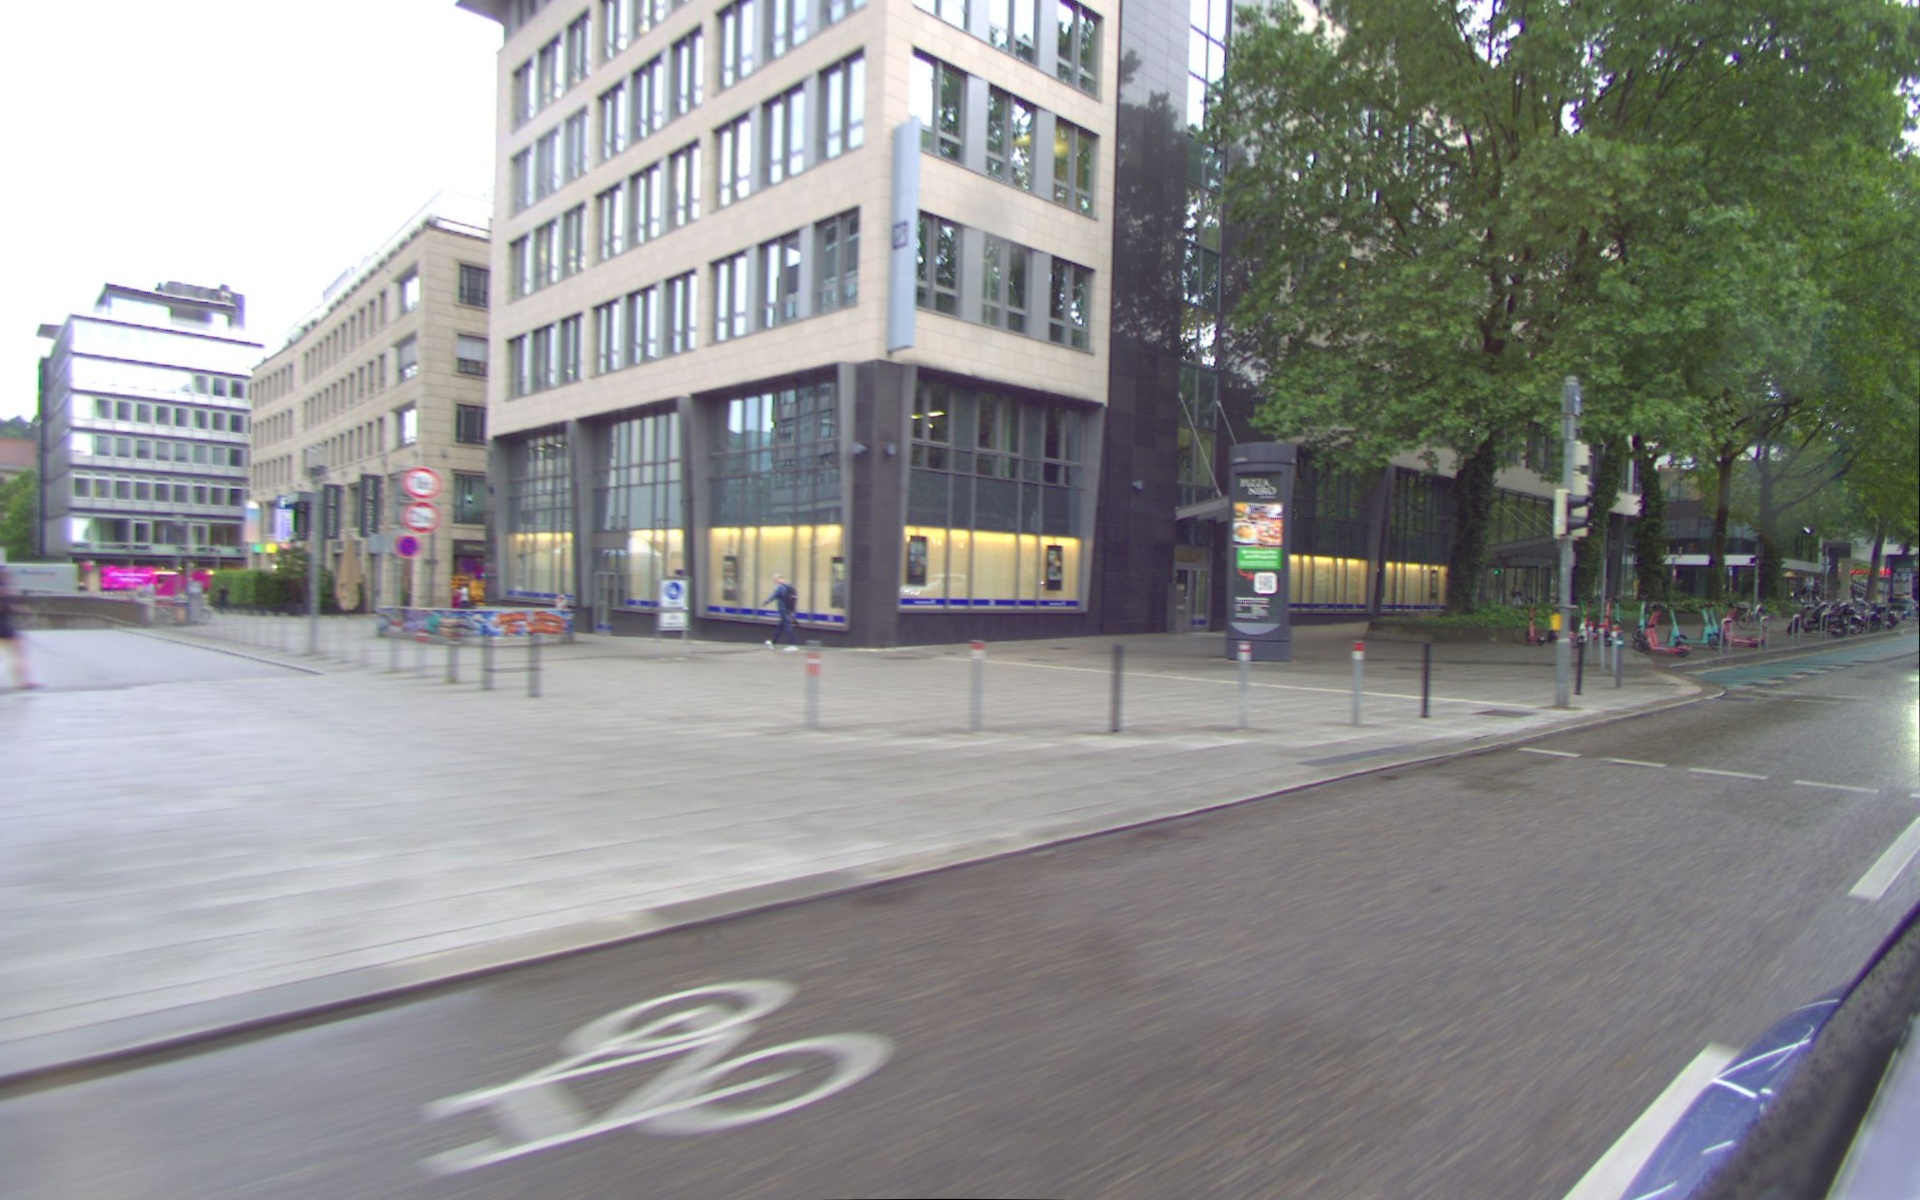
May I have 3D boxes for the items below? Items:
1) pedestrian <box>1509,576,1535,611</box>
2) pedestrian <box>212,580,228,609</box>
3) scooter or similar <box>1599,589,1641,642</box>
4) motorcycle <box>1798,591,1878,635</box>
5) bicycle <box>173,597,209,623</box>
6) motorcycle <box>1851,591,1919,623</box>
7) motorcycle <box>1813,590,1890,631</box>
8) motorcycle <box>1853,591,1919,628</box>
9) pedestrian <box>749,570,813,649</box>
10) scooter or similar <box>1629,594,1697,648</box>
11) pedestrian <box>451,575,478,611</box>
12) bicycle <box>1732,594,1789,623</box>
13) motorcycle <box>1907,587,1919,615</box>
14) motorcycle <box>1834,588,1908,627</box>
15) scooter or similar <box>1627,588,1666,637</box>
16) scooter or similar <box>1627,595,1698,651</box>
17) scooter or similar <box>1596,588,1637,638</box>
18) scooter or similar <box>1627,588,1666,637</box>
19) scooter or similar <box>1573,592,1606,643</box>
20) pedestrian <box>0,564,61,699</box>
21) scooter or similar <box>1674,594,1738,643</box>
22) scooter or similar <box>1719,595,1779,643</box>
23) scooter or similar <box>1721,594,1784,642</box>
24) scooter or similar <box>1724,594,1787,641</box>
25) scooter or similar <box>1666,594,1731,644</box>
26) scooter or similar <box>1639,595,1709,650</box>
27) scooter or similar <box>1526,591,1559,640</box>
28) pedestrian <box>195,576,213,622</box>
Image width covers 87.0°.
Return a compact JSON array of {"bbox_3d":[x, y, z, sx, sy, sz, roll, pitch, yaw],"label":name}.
[{"bbox_3d":[28.095,-0.332,50.579,0.813,1.714,0.729,2,1,3],"label":"pedestrian"},{"bbox_3d":[-41.954,-0.309,57.371,0.676,1.652,0.684,0,0,-38],"label":"pedestrian"},{"bbox_3d":[16.508,0.400,25.309,1.270,1.275,0.489,2,1,-40],"label":"scooter or similar"},{"bbox_3d":[30.379,0.424,35.057,1.949,1.391,0.720,4,1,35],"label":"motorcycle"},{"bbox_3d":[-32.332,0.427,42.567,1.175,1.053,0.350,-1,1,-41],"label":"bicycle"},{"bbox_3d":[40.137,0.299,43.940,2.031,1.227,0.682,3,3,16],"label":"motorcycle"},{"bbox_3d":[32.739,0.372,37.215,1.945,1.391,0.721,4,1,30],"label":"motorcycle"},{"bbox_3d":[38.644,0.390,42.131,2.043,1.446,0.721,4,1,30],"label":"motorcycle"},{"bbox_3d":[-4.385,0.214,24.811,1.260,1.873,0.915,0,1,19],"label":"pedestrian"},{"bbox_3d":[17.736,0.526,25.560,0.479,1.275,1.296,2,1,-28],"label":"scooter or similar"},{"bbox_3d":[-25.482,-0.375,52.034,1.067,1.853,0.727,0,0,-41],"label":"pedestrian"},{"bbox_3d":[29.001,0.302,36.675,1.727,1.040,0.640,0,1,-11],"label":"bicycle"},{"bbox_3d":[50.324,0.084,52.324,1.909,1.383,0.685,2,4,1],"label":"motorcycle"},{"bbox_3d":[35.374,0.295,39.318,1.945,1.391,0.721,4,1,30],"label":"motorcycle"},{"bbox_3d":[18.553,0.341,27.337,1.270,1.275,0.489,2,1,-40],"label":"scooter or similar"},{"bbox_3d":[17.063,0.552,24.602,0.479,1.275,1.296,2,1,-28],"label":"scooter or similar"},{"bbox_3d":[17.433,0.359,26.867,1.270,1.275,0.489,2,1,-40],"label":"scooter or similar"},{"bbox_3d":[18.553,0.341,27.337,1.270,1.275,0.489,2,1,-40],"label":"scooter or similar"},{"bbox_3d":[15.611,0.411,25.083,0.487,1.212,1.275,1,2,41],"label":"scooter or similar"},{"bbox_3d":[-12.678,0.391,13.348,0.791,1.717,1.190,0,0,-16],"label":"pedestrian"},{"bbox_3d":[20.510,0.492,27.838,0.480,1.251,1.293,2,1,-37],"label":"scooter or similar"},{"bbox_3d":[22.497,0.529,28.864,1.288,1.294,0.529,4,1,40],"label":"scooter or similar"},{"bbox_3d":[22.965,0.515,29.355,0.527,1.294,1.294,2,1,-35],"label":"scooter or similar"},{"bbox_3d":[23.289,0.507,29.648,0.527,1.294,1.294,2,1,-35],"label":"scooter or similar"},{"bbox_3d":[19.951,0.506,27.366,0.480,1.251,1.293,2,1,-37],"label":"scooter or similar"},{"bbox_3d":[17.570,0.542,24.930,0.479,1.275,1.296,2,1,-28],"label":"scooter or similar"},{"bbox_3d":[15.044,0.391,26.141,0.483,1.212,1.286,1,2,19],"label":"scooter or similar"},{"bbox_3d":[-33.452,-0.046,44.784,0.562,2.039,0.704,1,0,-42],"label":"pedestrian"}]
